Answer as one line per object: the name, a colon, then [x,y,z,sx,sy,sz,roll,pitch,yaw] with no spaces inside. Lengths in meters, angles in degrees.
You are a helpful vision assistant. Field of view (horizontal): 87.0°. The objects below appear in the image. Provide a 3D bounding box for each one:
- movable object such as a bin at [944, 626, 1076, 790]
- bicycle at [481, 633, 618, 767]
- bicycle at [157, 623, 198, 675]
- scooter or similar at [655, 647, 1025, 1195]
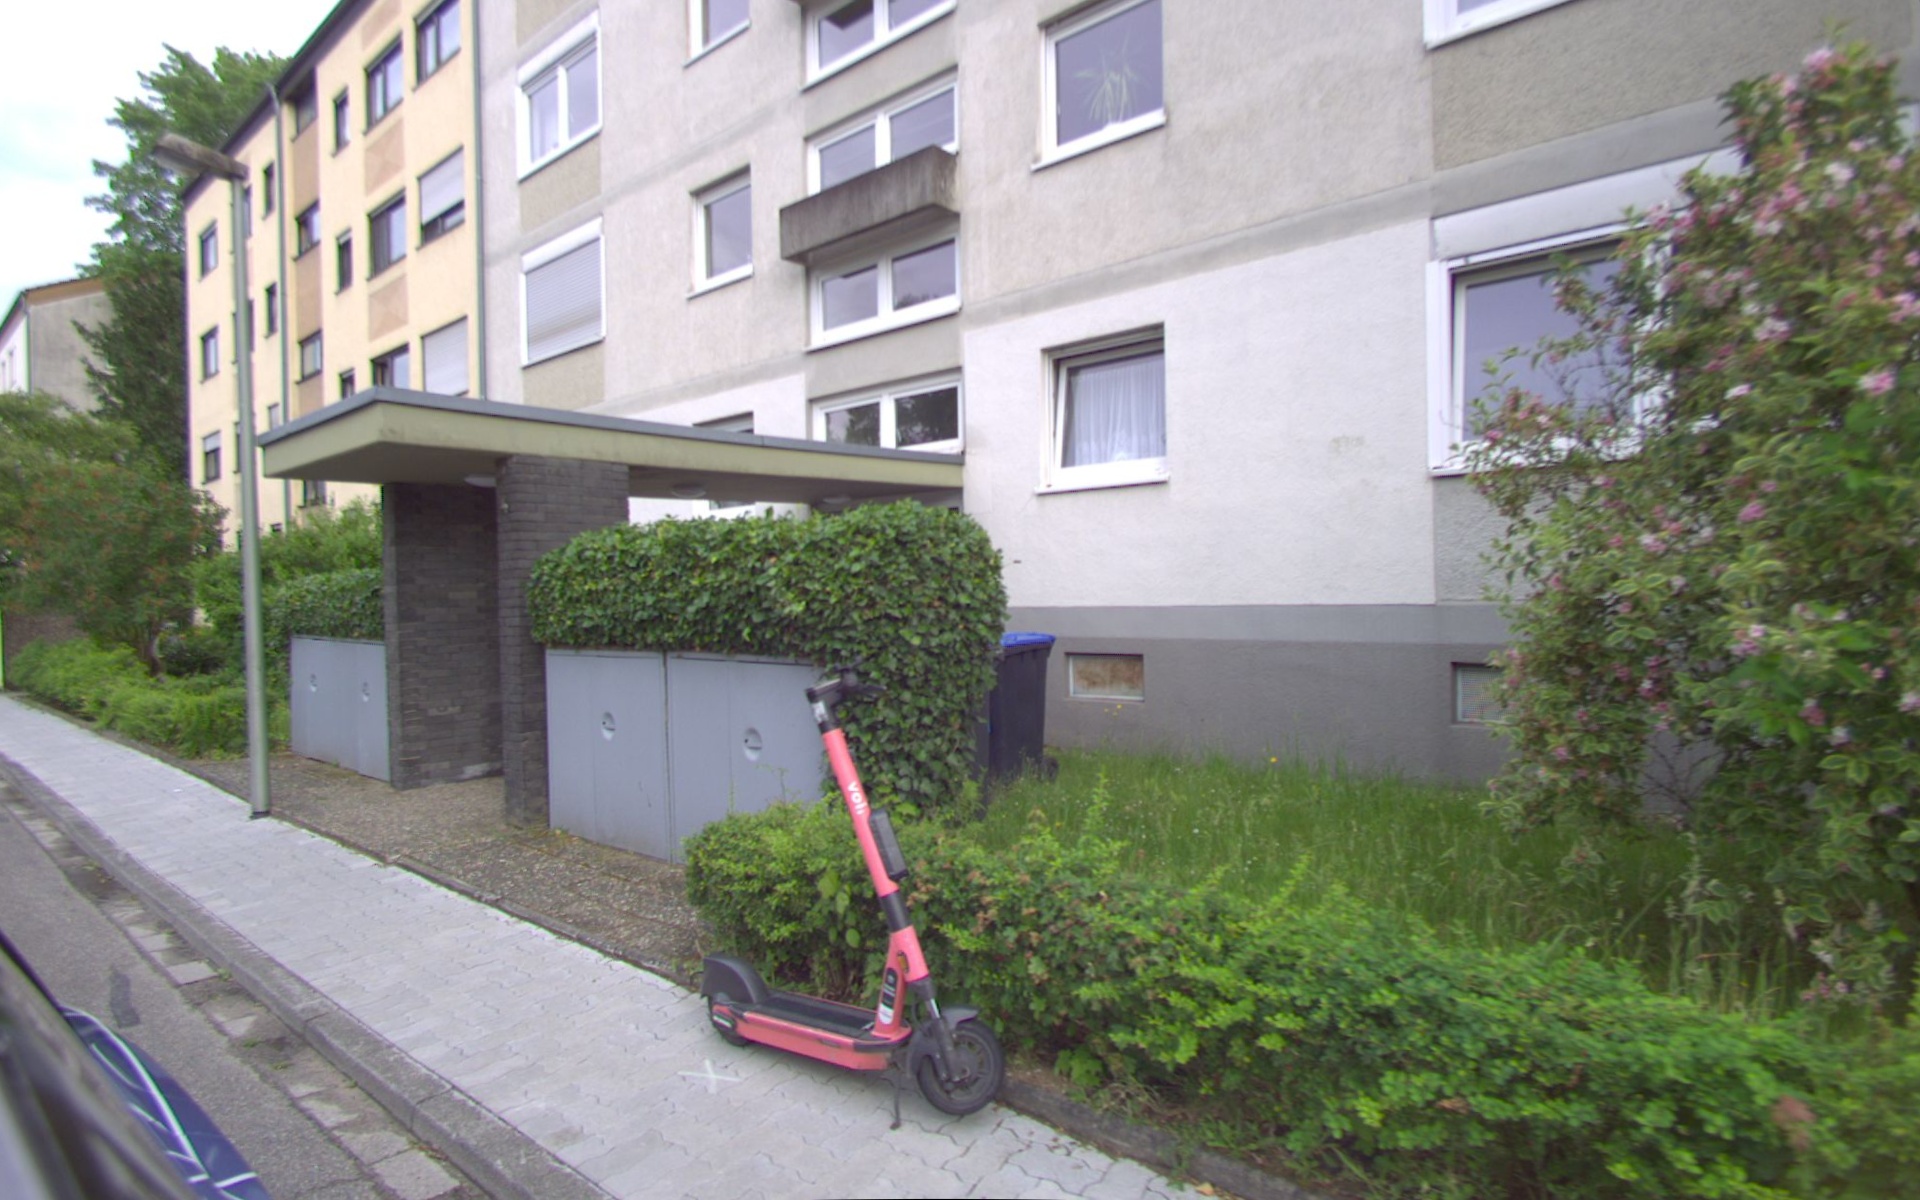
movable object such as a bin: [0.347,0.708,6.992,0.665,1.042,0.617,-2,-1,41]
bicycle: [-3.607,0.831,8.835,1.546,1.042,0.449,-1,2,42]
bicycle: [-16.493,1.051,21.317,1.690,1.059,0.311,-4,-2,40]
scooter or similar: [-0.380,0.749,2.778,1.164,1.220,0.270,-2,-1,41]
